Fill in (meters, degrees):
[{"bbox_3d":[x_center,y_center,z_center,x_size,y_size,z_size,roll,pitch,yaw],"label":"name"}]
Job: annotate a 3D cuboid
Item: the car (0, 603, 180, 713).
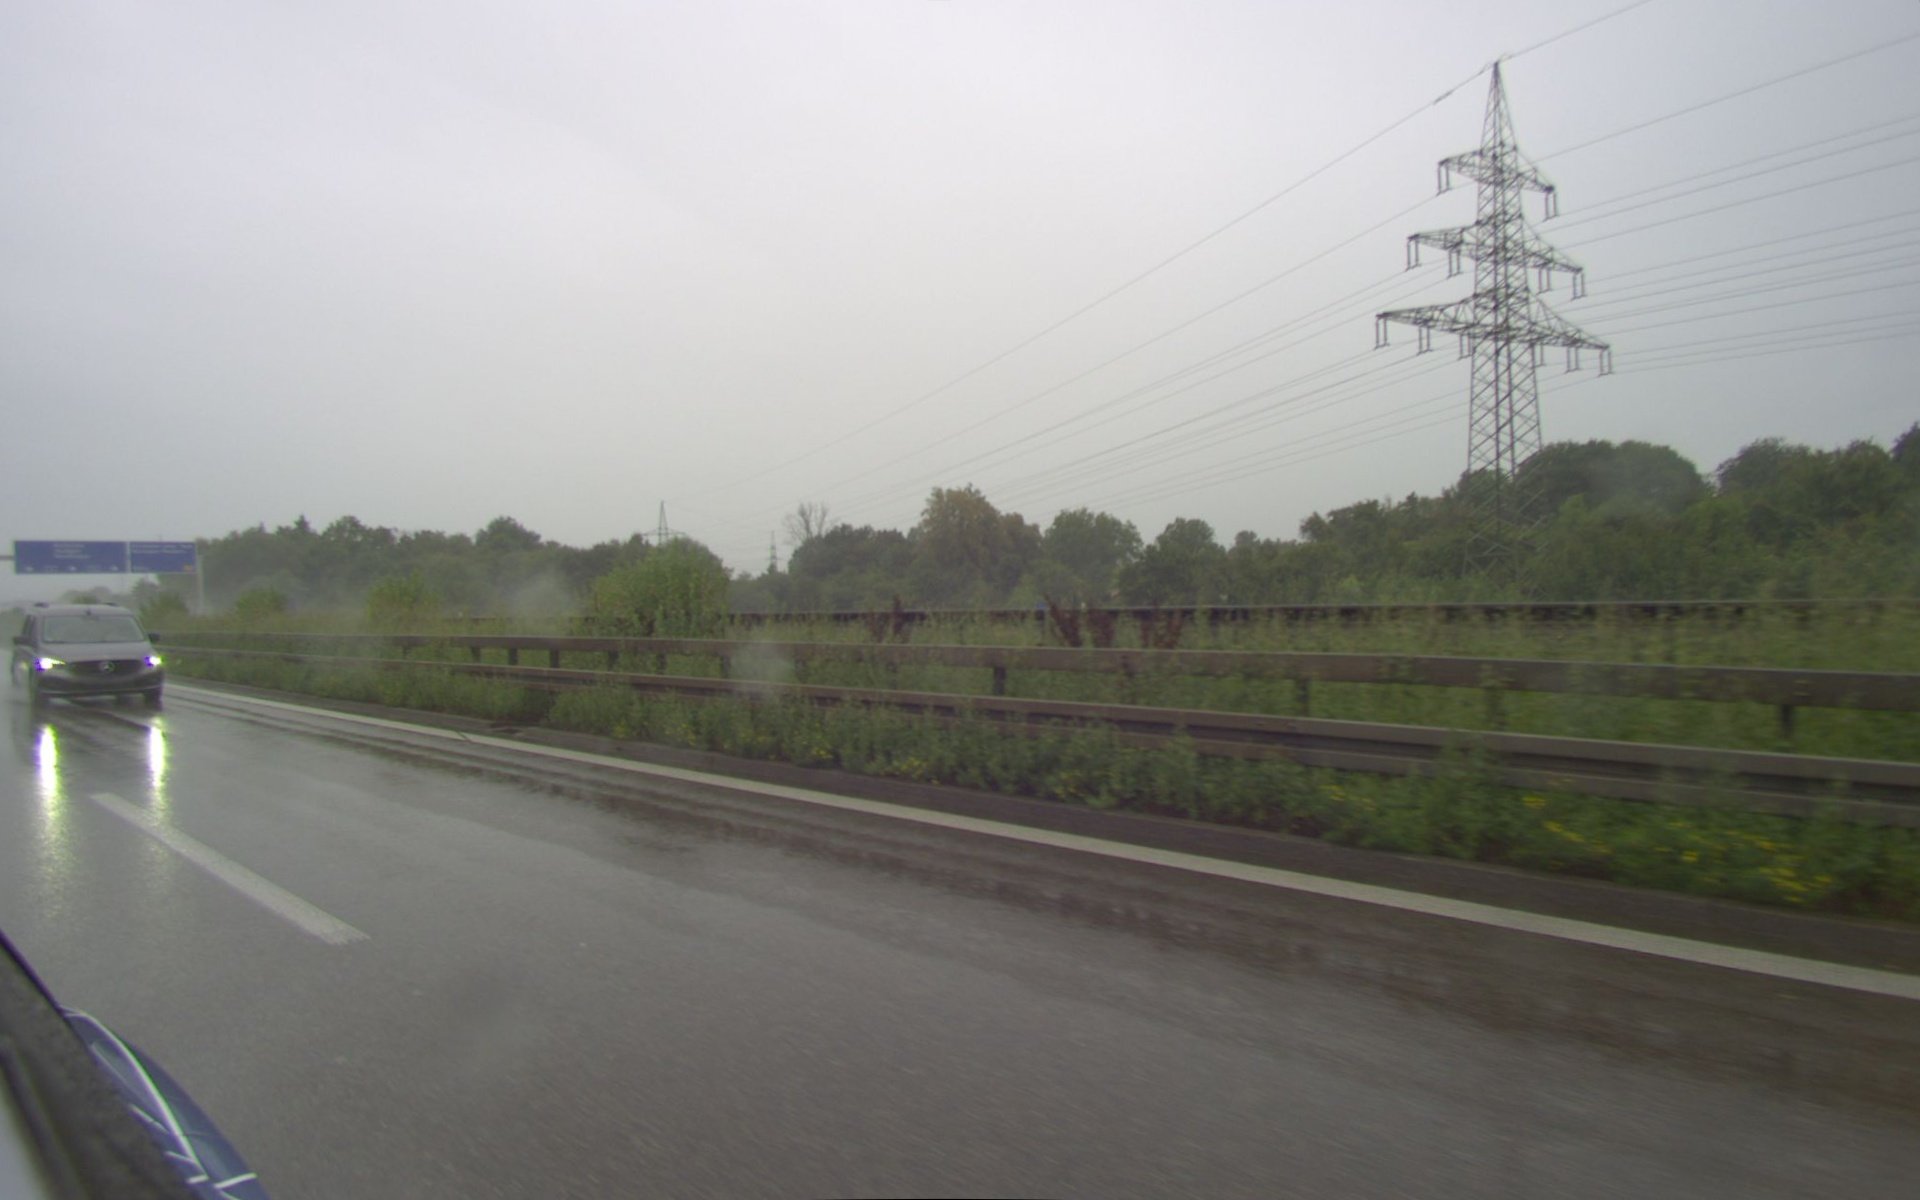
[{"bbox_3d":[-16.198,0.985,18.704,4.498,1.787,2.020,-1,-1,42],"label":"car"}]
